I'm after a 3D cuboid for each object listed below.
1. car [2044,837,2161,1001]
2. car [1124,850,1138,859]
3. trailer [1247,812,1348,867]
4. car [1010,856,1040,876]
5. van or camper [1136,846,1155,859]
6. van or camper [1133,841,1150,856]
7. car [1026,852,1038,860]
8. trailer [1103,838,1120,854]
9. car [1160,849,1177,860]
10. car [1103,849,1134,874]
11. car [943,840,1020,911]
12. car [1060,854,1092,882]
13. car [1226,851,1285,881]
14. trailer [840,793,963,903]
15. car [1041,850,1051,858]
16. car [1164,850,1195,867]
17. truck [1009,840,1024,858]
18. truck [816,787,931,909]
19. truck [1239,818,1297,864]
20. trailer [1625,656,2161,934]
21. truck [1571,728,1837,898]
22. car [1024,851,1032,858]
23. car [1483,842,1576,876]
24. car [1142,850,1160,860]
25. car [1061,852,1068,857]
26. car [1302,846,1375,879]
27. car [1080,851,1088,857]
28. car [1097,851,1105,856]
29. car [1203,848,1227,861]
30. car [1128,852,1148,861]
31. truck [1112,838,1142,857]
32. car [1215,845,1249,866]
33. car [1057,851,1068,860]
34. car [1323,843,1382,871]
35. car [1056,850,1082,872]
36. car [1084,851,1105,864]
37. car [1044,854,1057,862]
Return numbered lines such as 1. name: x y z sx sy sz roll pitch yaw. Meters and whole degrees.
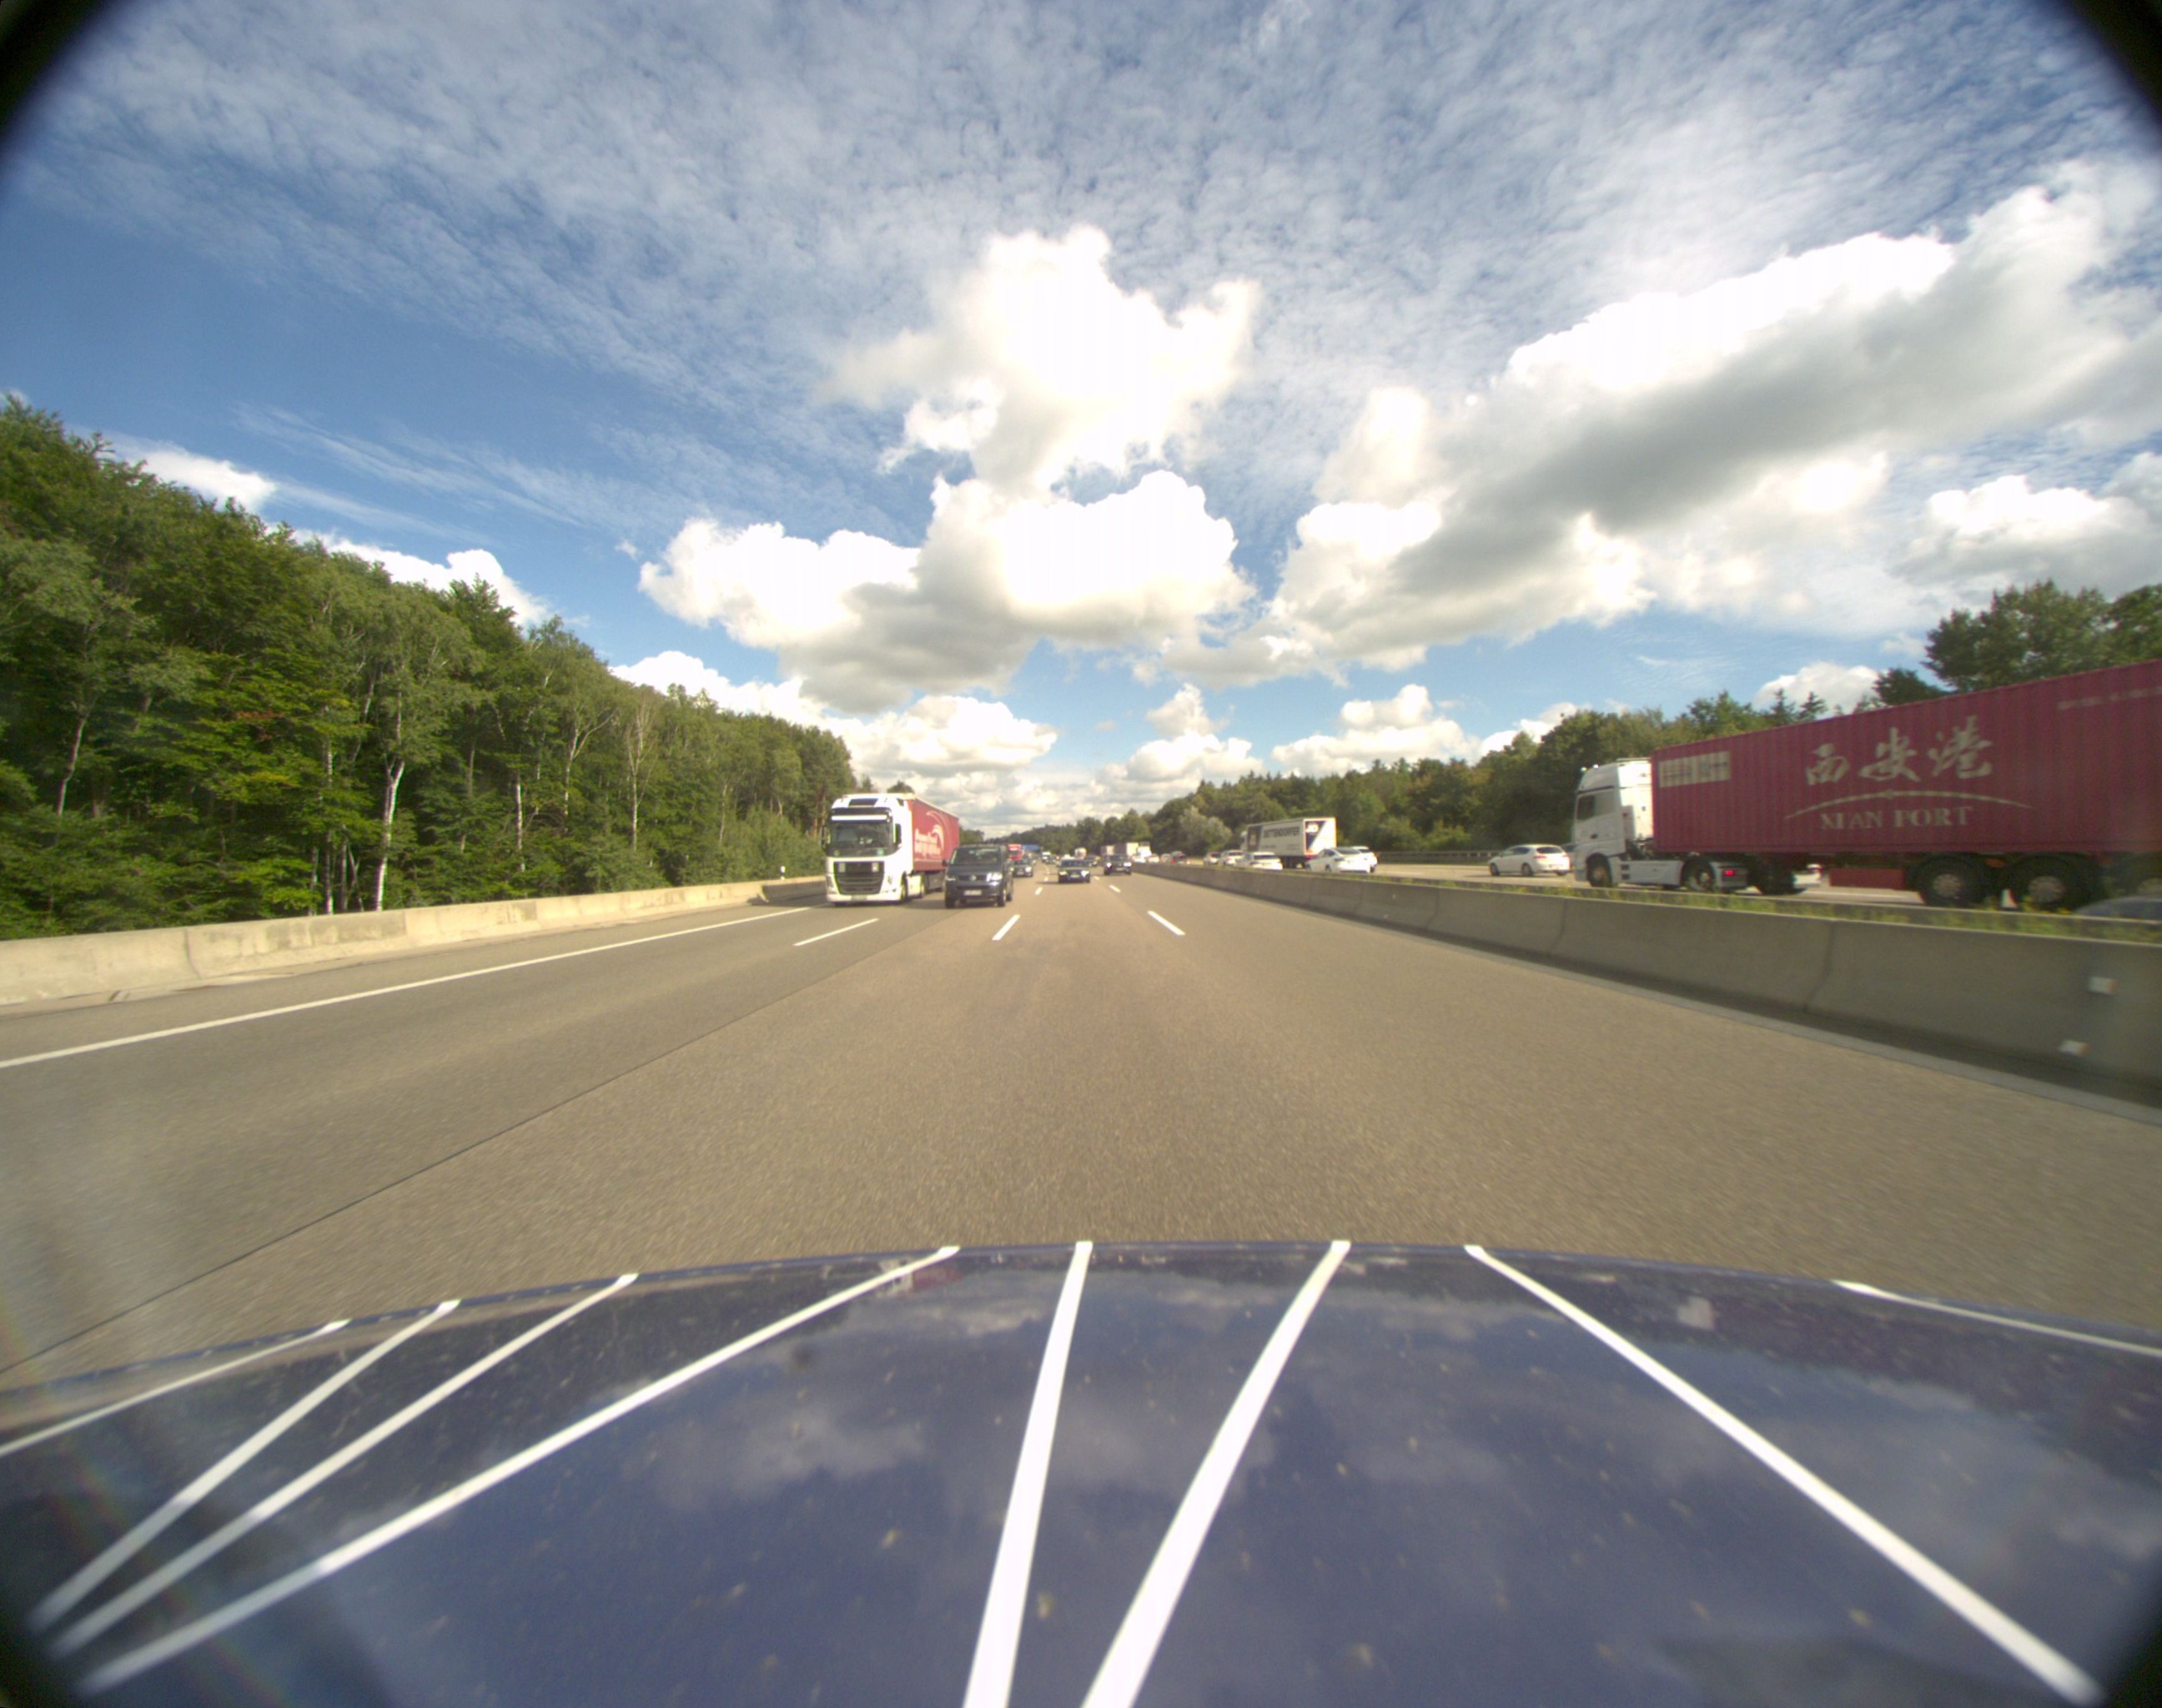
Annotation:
1. car: 10.089 0.537 4.951 1.798 1.367 4.548 -2 0 -1
2. car: 9.425 0.096 142.576 2.177 1.462 4.785 -2 0 -1
3. trailer: 18.203 -1.151 65.446 3.327 4.083 14.147 -2 0 -5
4. car: -4.429 0.908 59.954 2.154 1.426 5.096 -2 0 -6
5. van or camper: 10.445 -0.213 123.913 1.999 1.926 5.454 -2 0 -6
6. van or camper: 11.812 -1.054 147.746 2.381 2.875 6.503 0 0 -4
7. car: -9.221 0.344 142.348 2.153 1.540 4.675 -1 0 -4
8. trailer: 7.949 -2.063 199.219 2.976 3.835 11.274 -2 0 -6
9. car: 11.459 0.053 99.896 1.686 1.389 4.714 -2 0 0
10. car: 2.854 0.534 58.192 2.152 1.800 5.099 -2 1 1
11. car: -3.201 0.638 25.407 1.854 2.097 4.932 -2 0 0
12. car: -0.317 0.799 44.390 1.733 1.500 4.727 -2 0 -1
13. car: 9.313 0.607 40.859 1.775 1.433 4.849 -2 0 -3
14. trailer: -7.747 -0.232 35.146 2.781 4.021 13.710 -2 0 -2
15. car: -8.262 0.043 180.157 2.153 1.806 4.675 -1 0 -3
16. car: 8.564 0.385 66.420 1.999 1.354 4.618 -2 0 -2
17. truck: -13.680 -0.969 160.718 3.019 3.662 7.557 -1 0 -6
18. truck: -7.538 -0.214 28.492 2.781 4.022 5.772 -2 0 -2
19. truck: 17.580 -1.212 71.908 3.327 4.083 6.221 -2 0 -5
20. trailer: 17.251 -0.923 15.342 2.746 4.083 13.414 -2 0 0
21. truck: 17.209 -1.020 21.601 2.746 4.083 5.763 -2 1 -1
22. car: -15.358 0.182 220.459 2.153 1.806 4.675 -1 0 -3
23. car: 20.560 0.221 35.045 1.629 1.418 4.284 -2 0 -1
24. car: 10.146 0.141 110.086 1.774 1.386 4.689 -2 0 -4
25. car: -5.759 0.123 263.265 2.161 1.690 5.347 -2 0 -6
26. car: 12.997 0.403 38.718 1.862 1.517 4.994 -2 0 -1
27. car: 1.001 -0.069 238.880 1.854 1.867 4.613 -2 0 -5
28. car: 5.838 -0.202 225.690 1.854 1.559 4.366 -2 0 -5
29. car: 15.307 0.051 86.982 1.816 1.444 4.800 -2 0 -1
30. car: 7.283 0.318 97.441 1.816 1.154 4.512 -2 0 -6
31. truck: 10.255 -1.366 170.789 2.829 4.070 13.829 -2 0 -13
32. car: 12.686 0.115 64.178 1.713 1.584 4.942 -2 0 -1
33. car: -4.130 0.349 169.078 2.153 1.806 4.675 -1 0 -3
34. car: 16.959 0.174 47.779 1.798 1.608 5.044 -2 0 -1
35. car: -1.028 0.569 67.319 2.153 1.800 5.098 -2 1 -1
36. car: 1.689 0.439 94.611 2.153 1.540 4.675 -2 0 -4
37. car: -5.805 0.726 146.173 2.154 1.540 4.674 -1 0 -6
